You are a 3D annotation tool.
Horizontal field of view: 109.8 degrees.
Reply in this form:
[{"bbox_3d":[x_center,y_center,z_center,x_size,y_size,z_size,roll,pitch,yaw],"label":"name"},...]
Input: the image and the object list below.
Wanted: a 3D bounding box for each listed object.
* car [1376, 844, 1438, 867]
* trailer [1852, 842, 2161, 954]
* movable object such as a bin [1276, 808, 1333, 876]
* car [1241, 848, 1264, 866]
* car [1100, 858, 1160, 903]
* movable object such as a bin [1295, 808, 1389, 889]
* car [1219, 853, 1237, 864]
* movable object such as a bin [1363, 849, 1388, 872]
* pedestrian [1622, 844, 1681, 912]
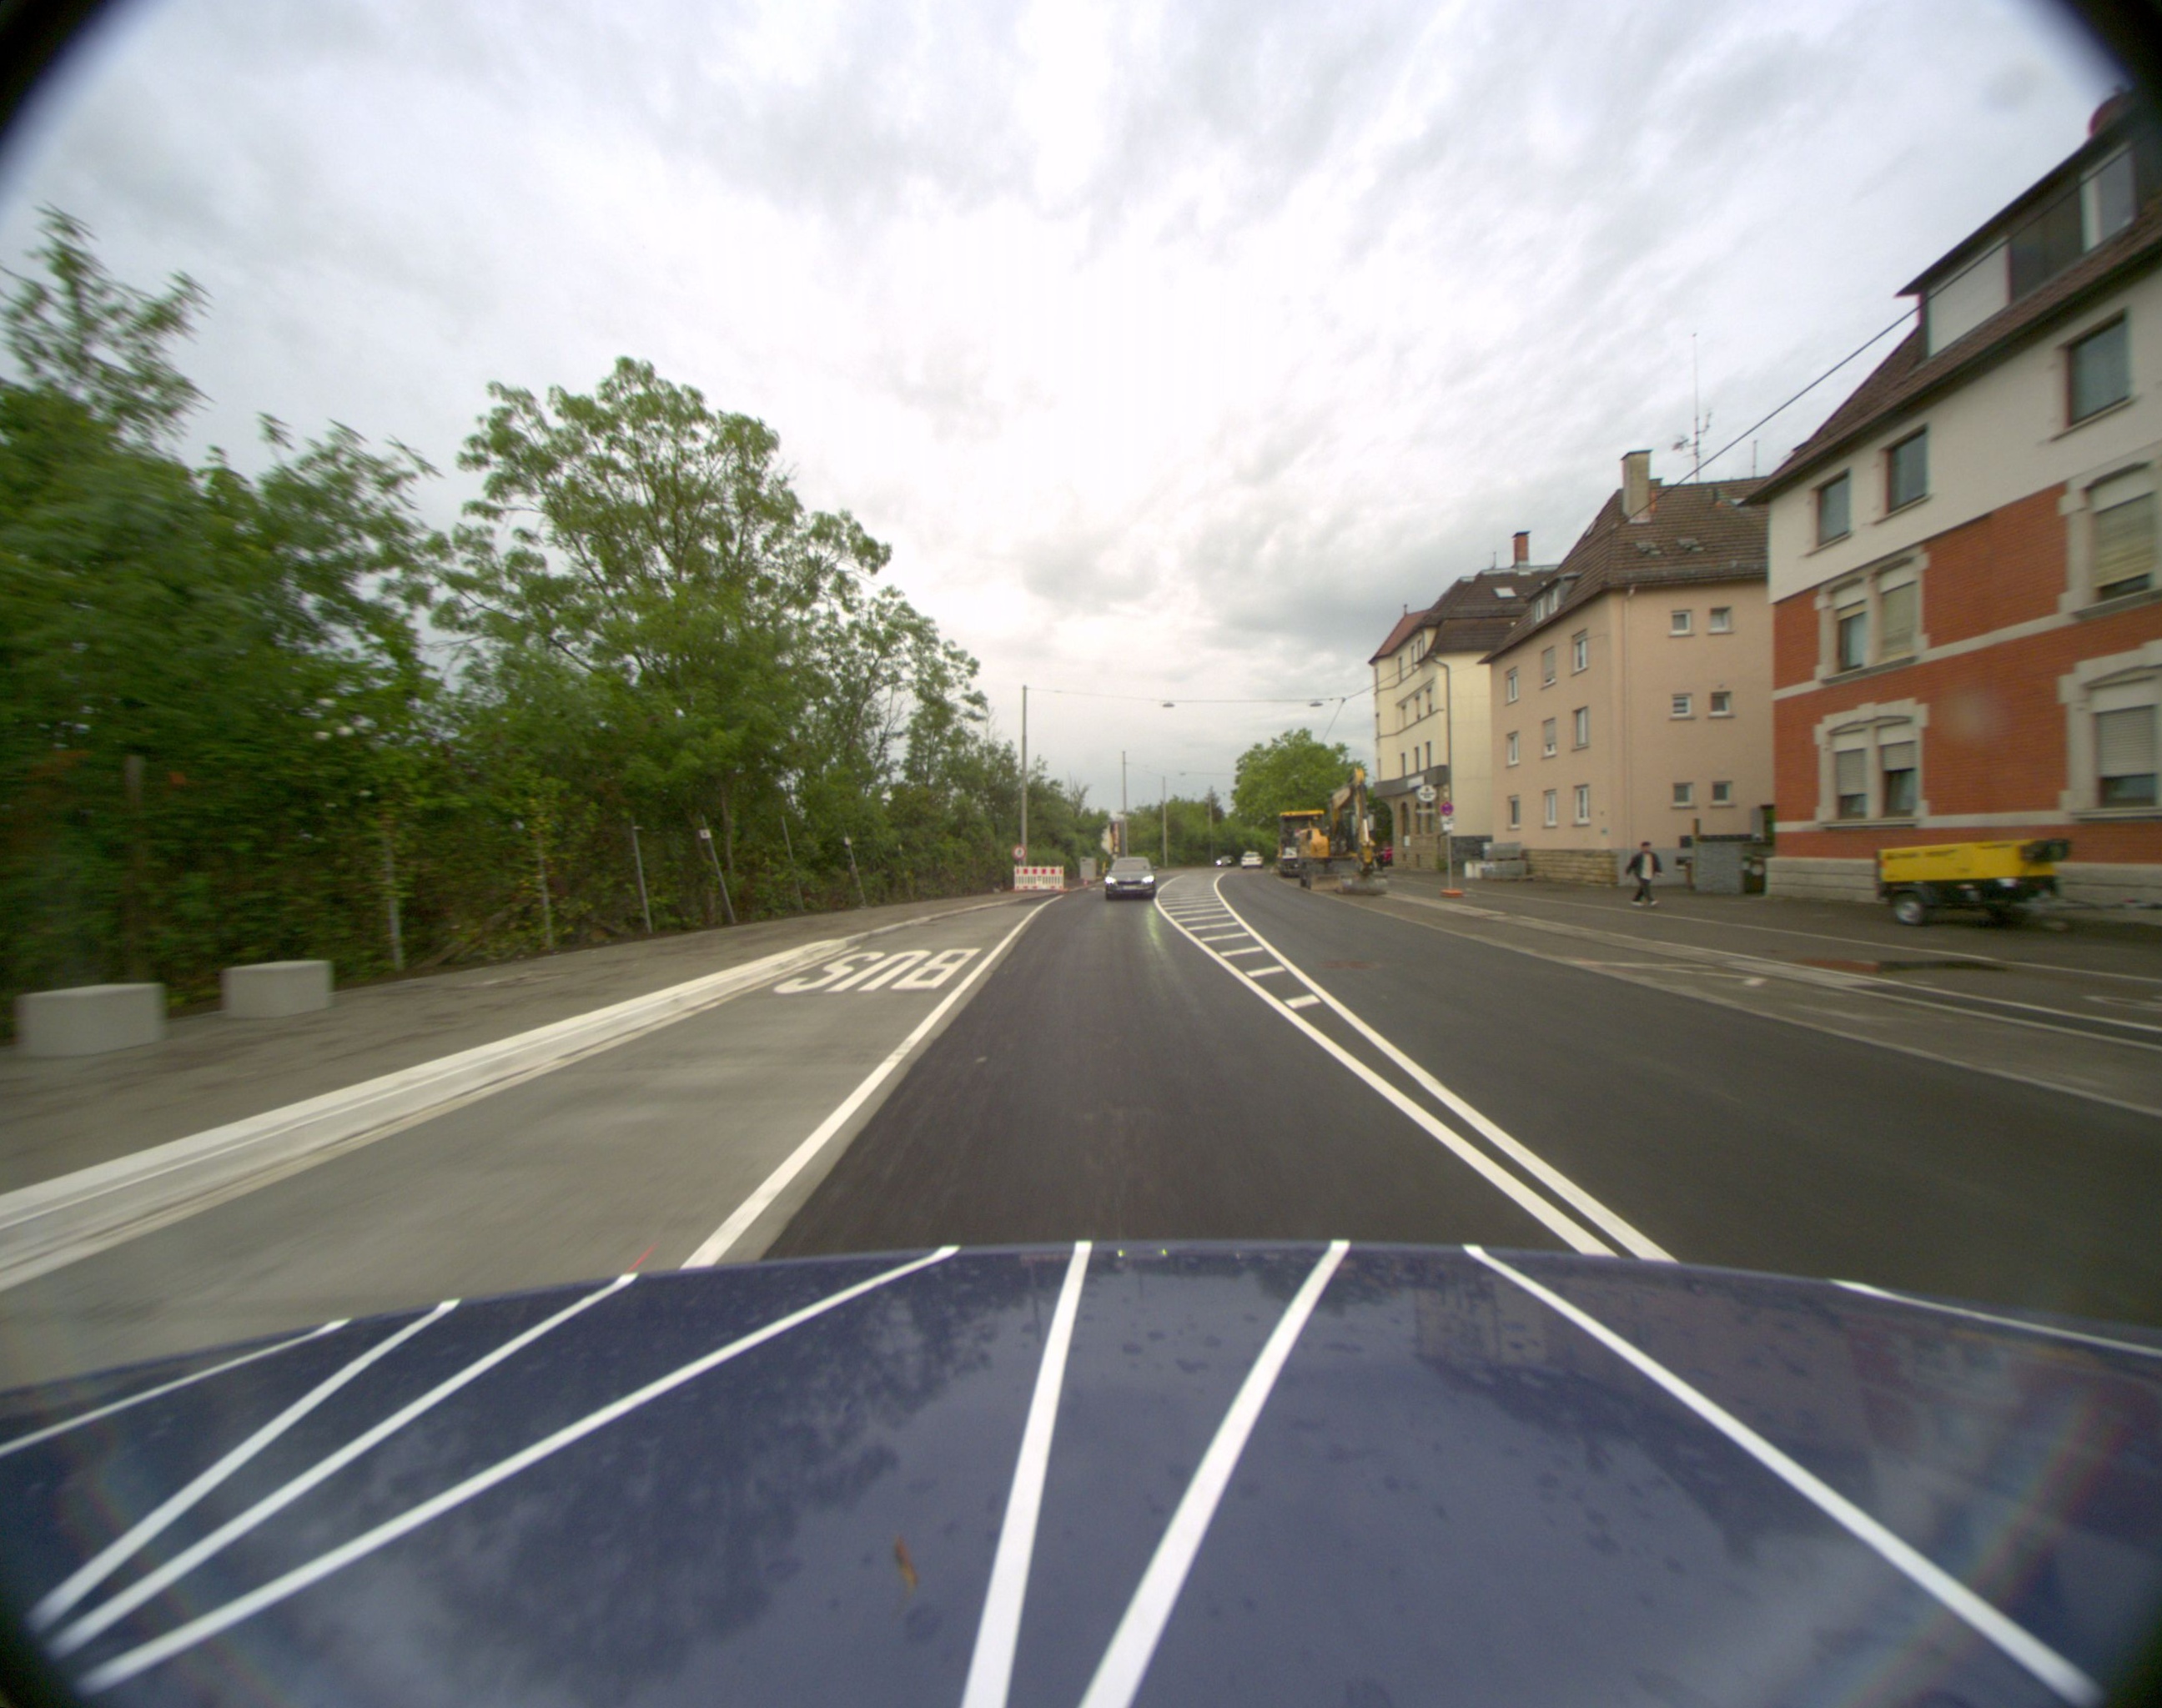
[{"bbox_3d":[24.770,0.082,57.795,3.994,1.655,1.912,-1,1,9],"label":"car"},{"bbox_3d":[14.205,0.546,11.551,1.326,1.391,3.998,-2,0,9],"label":"trailer"},{"bbox_3d":[13.812,-0.696,47.463,2.952,3.821,8.135,-2,0,14],"label":"movable object such as a bin"},{"bbox_3d":[16.180,0.286,71.469,1.961,1.634,4.449,-1,0,15],"label":"car"},{"bbox_3d":[1.867,0.910,27.887,1.836,1.429,4.002,-2,0,8],"label":"car"},{"bbox_3d":[10.726,-0.197,31.666,2.829,3.094,4.636,-1,0,9],"label":"movable object such as a bin"},{"bbox_3d":[18.715,0.598,96.733,1.603,1.295,3.718,-3,-1,20],"label":"car"},{"bbox_3d":[17.263,0.361,44.550,1.159,1.295,1.248,-1,1,14],"label":"movable object such as a bin"},{"bbox_3d":[13.296,0.545,17.749,0.604,1.519,1.038,-3,0,7],"label":"pedestrian"}]
